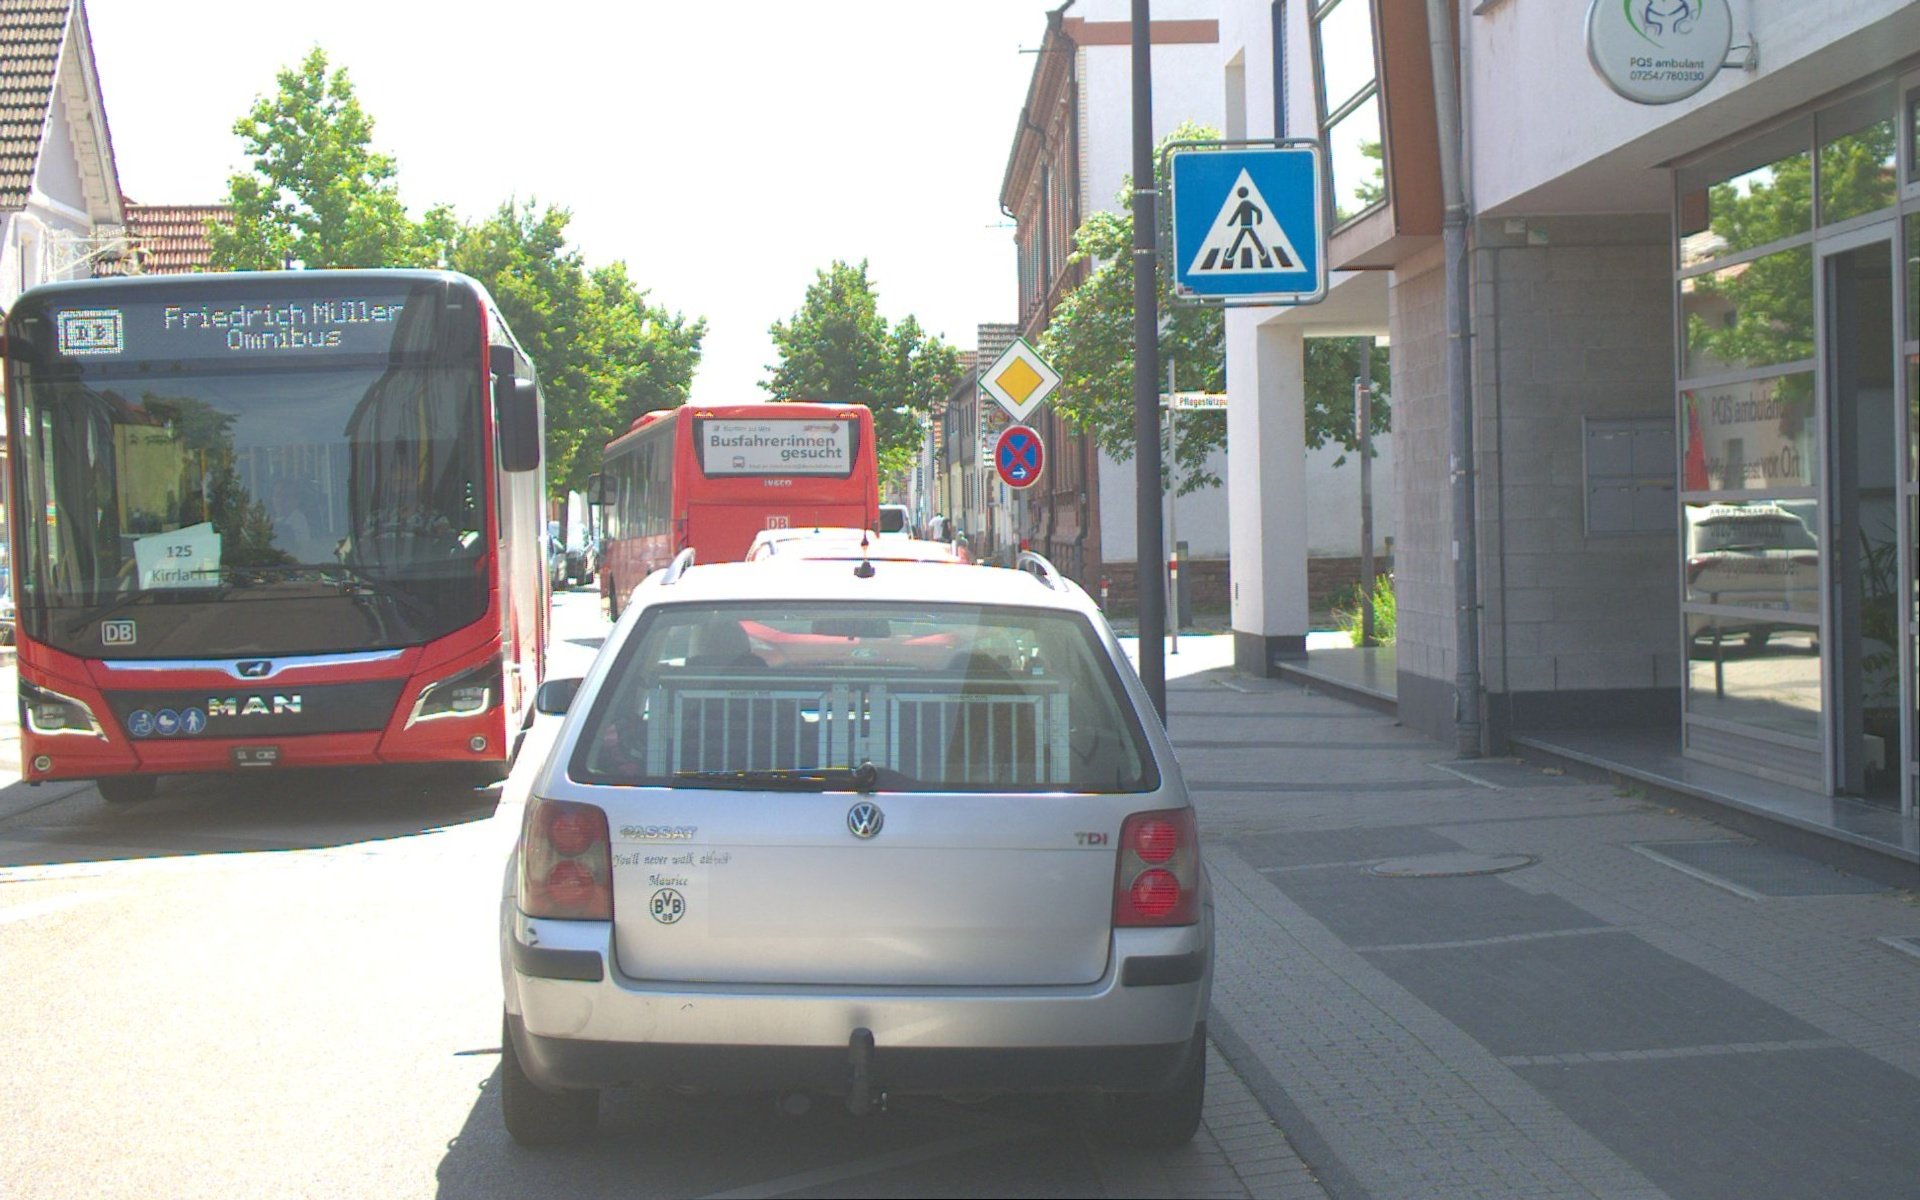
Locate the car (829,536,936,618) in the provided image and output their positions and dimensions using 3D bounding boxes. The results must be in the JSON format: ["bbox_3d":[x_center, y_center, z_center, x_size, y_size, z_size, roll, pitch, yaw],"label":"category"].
[{"bbox_3d":[-1.350,-0.414,58.673,1.719,1.304,3.626,-1,1,-3],"label":"car"}]

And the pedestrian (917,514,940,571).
[{"bbox_3d":[-0.922,-1.708,101.860,0.606,1.661,0.789,-1,1,-4],"label":"pedestrian"}]

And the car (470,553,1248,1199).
[{"bbox_3d":[-0.298,0.610,9.336,1.677,1.425,3.680,1,1,-2],"label":"car"}]

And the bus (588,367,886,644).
[{"bbox_3d":[-3.334,-1.232,47.345,2.739,3.287,12.709,-1,1,-10],"label":"bus"}]

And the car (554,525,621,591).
[{"bbox_3d":[-11.706,-1.341,108.311,1.811,1.989,4.001,-1,1,-3],"label":"car"}]

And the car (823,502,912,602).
[{"bbox_3d":[-2.007,-1.040,73.938,1.787,2.075,3.626,-1,1,-3],"label":"car"}]

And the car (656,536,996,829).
[{"bbox_3d":[-0.751,0.378,19.101,1.677,1.425,3.680,-1,1,-2],"label":"car"}]

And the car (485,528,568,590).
[{"bbox_3d":[-11.290,-1.081,89.720,1.811,1.553,4.001,-1,1,-3],"label":"car"}]

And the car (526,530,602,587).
[{"bbox_3d":[-11.061,-1.178,96.179,1.811,1.553,4.001,-1,1,-3],"label":"car"}]

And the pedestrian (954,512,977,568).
[{"bbox_3d":[0.167,-1.784,102.408,0.606,1.661,0.789,-1,1,-4],"label":"pedestrian"}]

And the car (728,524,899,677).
[{"bbox_3d":[-1.418,-0.036,34.057,1.593,1.425,3.680,0,1,-1],"label":"car"}]

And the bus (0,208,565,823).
[{"bbox_3d":[-4.541,-0.619,26.587,2.668,3.113,17.811,-1,1,-6],"label":"bus"}]
